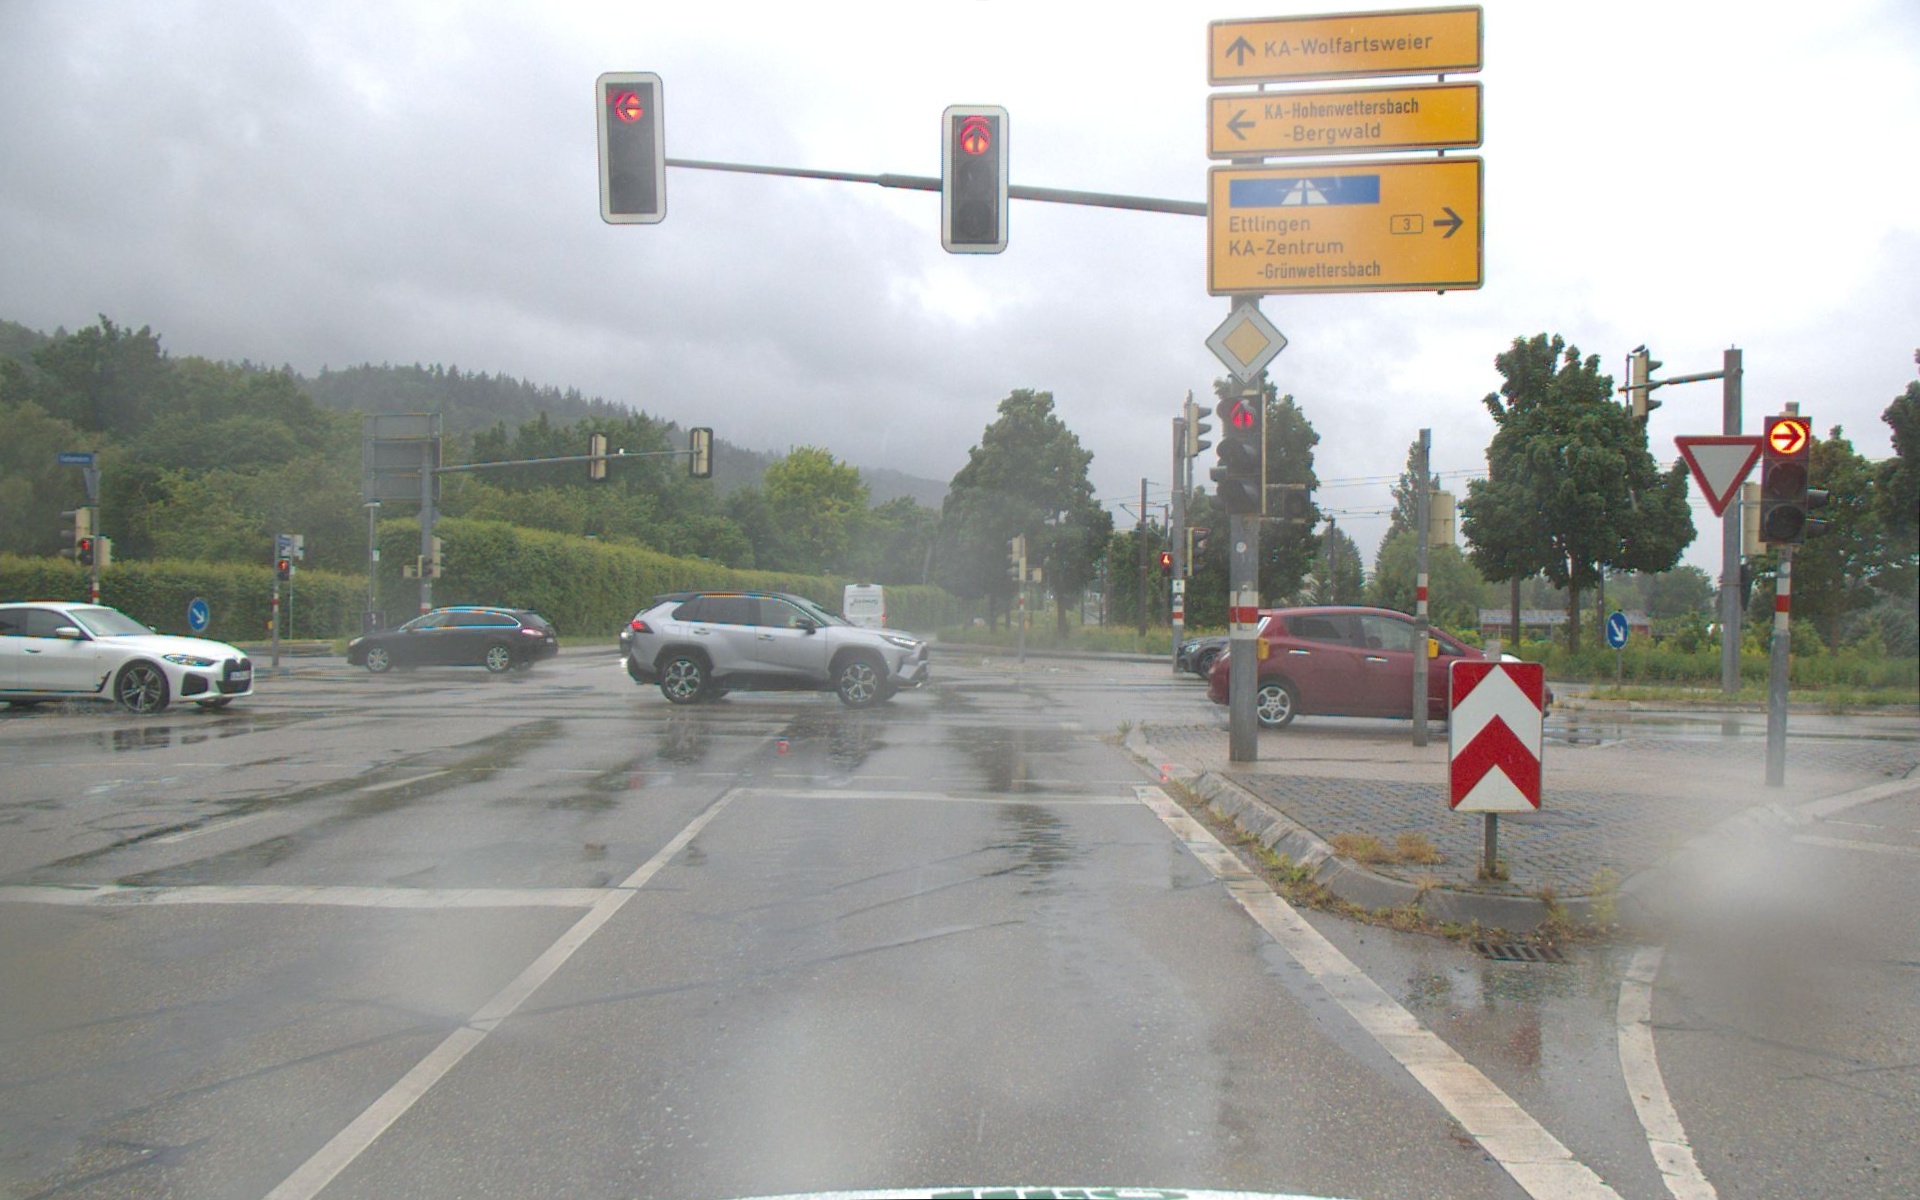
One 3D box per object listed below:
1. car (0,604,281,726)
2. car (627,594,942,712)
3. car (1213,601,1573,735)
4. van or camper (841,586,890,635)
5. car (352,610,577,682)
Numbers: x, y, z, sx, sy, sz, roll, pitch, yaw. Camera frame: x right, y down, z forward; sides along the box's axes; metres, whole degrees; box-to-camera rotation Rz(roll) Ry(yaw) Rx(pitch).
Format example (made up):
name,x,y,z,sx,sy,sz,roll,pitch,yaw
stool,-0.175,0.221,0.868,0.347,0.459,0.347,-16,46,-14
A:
name,x,y,z,sx,sy,sz,roll,pitch,yaw
car,-12.048,0.853,22.672,4.778,1.581,1.801,0,0,7
car,-2.602,0.760,25.162,4.431,1.607,1.914,1,0,7
car,5.493,0.835,21.422,4.282,1.607,1.734,0,0,6
van or camper,-4.345,0.462,76.889,2.110,2.207,4.863,0,0,-1
car,-11.277,1.028,37.845,4.572,1.581,1.823,0,0,2
